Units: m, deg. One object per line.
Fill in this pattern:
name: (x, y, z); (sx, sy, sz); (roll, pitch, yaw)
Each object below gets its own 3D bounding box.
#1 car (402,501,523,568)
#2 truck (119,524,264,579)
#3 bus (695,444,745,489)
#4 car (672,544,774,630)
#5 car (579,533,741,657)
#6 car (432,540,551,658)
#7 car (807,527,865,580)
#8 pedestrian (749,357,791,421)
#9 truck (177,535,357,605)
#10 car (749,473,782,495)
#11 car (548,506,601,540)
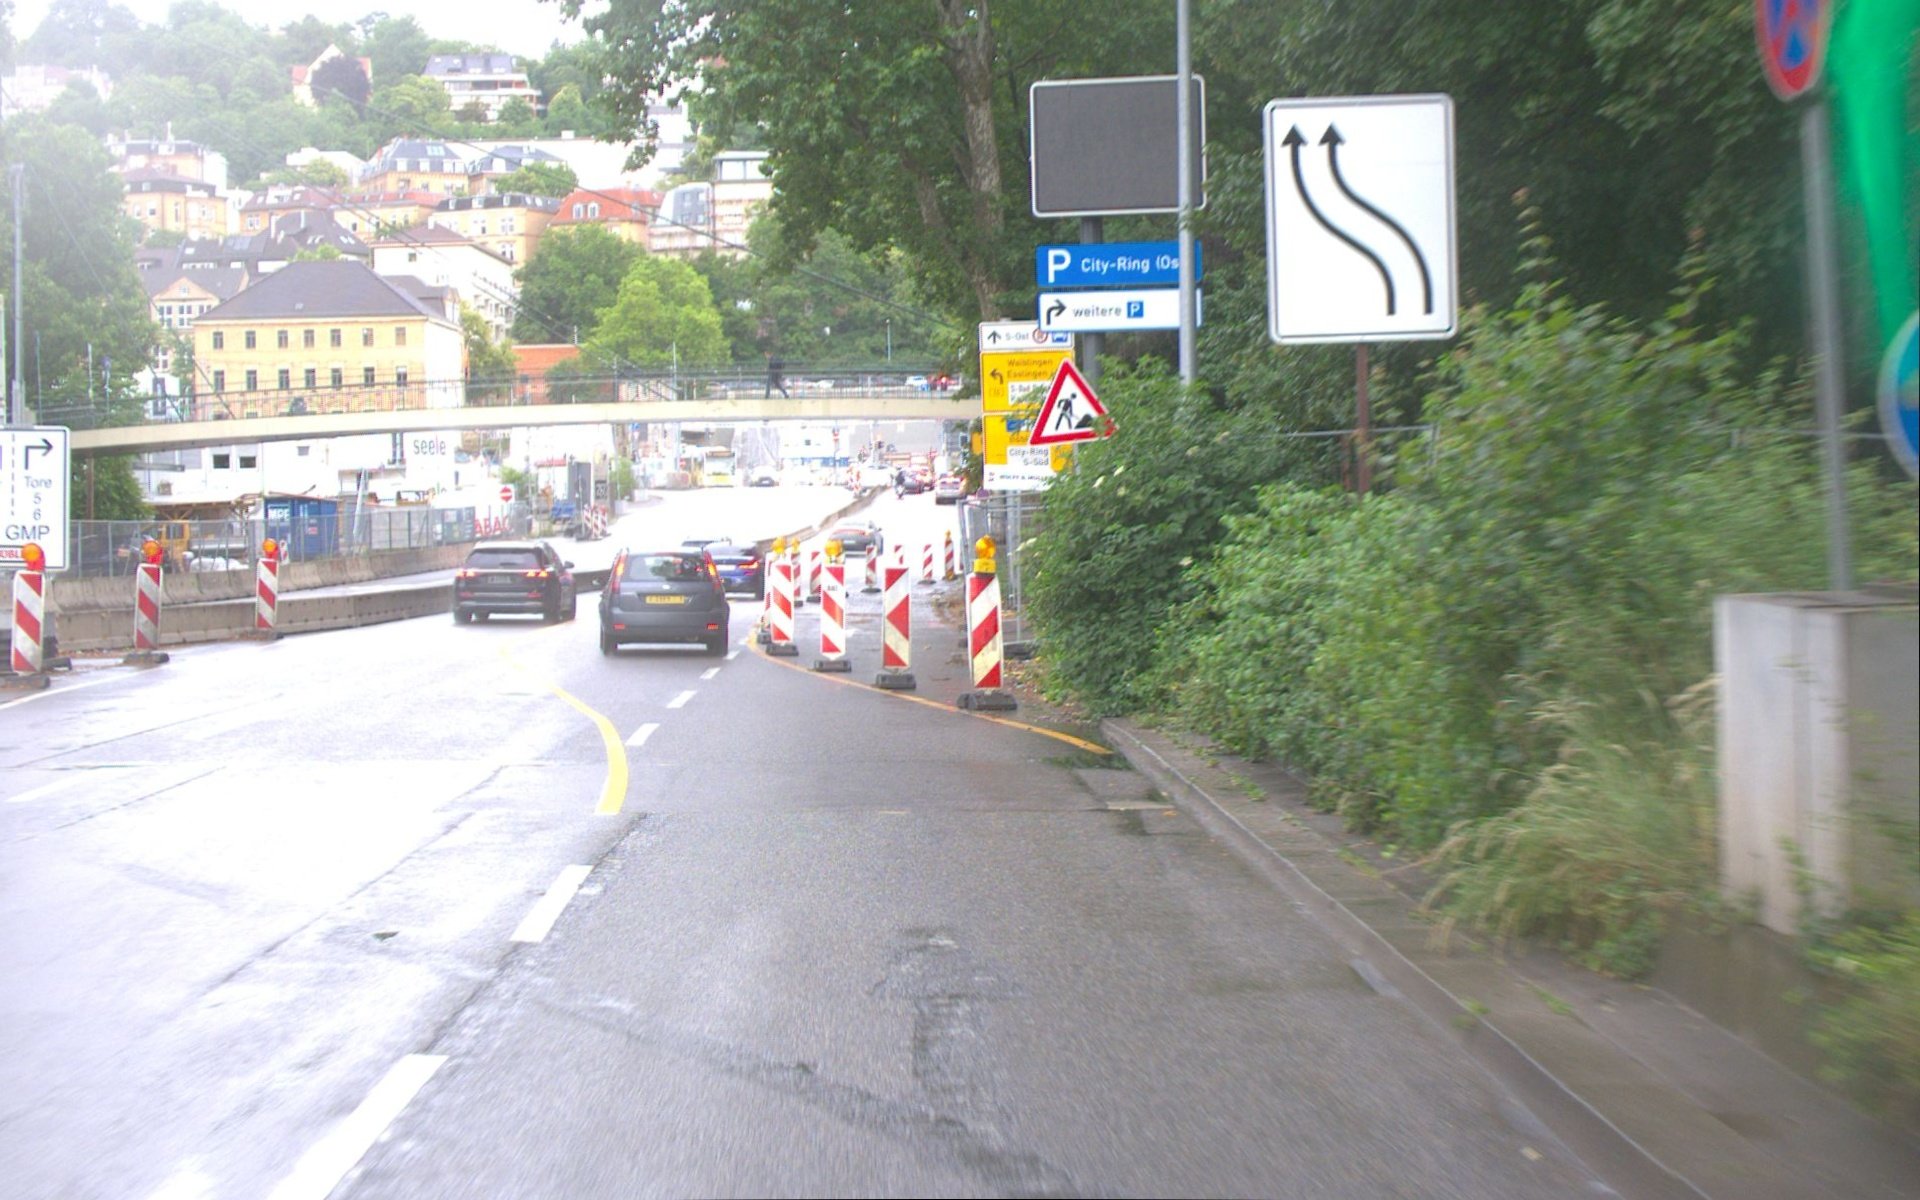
car: (-21.870, -2.889, 151.369); (1.996, 2.865, 6.043); (-1, 1, 29)
truck: (-30.445, -1.935, 136.356); (5.246, 2.007, 2.164); (-2, 1, -2)
bus: (-17.992, -9.989, 258.042); (2.806, 3.173, 8.808); (-1, 2, 2)
car: (-5.905, -0.334, 86.046); (2.105, 2.043, 4.000); (-1, 1, 2)
car: (-4.054, -0.086, 46.035); (1.812, 1.521, 4.001); (-2, 1, -9)
car: (-8.485, -0.037, 62.371); (2.016, 2.007, 4.001); (-2, 1, -7)
car: (-4.844, -1.826, 134.794); (2.051, 2.007, 4.000); (-1, 1, 1)
pedestrian: (-6.351, -7.062, 115.196); (1.148, 2.053, 1.059); (-1, 0, 10)
truck: (-25.828, -1.124, 128.371); (6.275, 2.444, 2.694); (-2, 1, -5)
car: (-14.416, -8.610, 255.156); (2.081, 1.625, 4.853); (-1, 2, 1)
car: (-20.478, -4.106, 182.741); (1.994, 1.616, 4.000); (-1, 3, 5)
